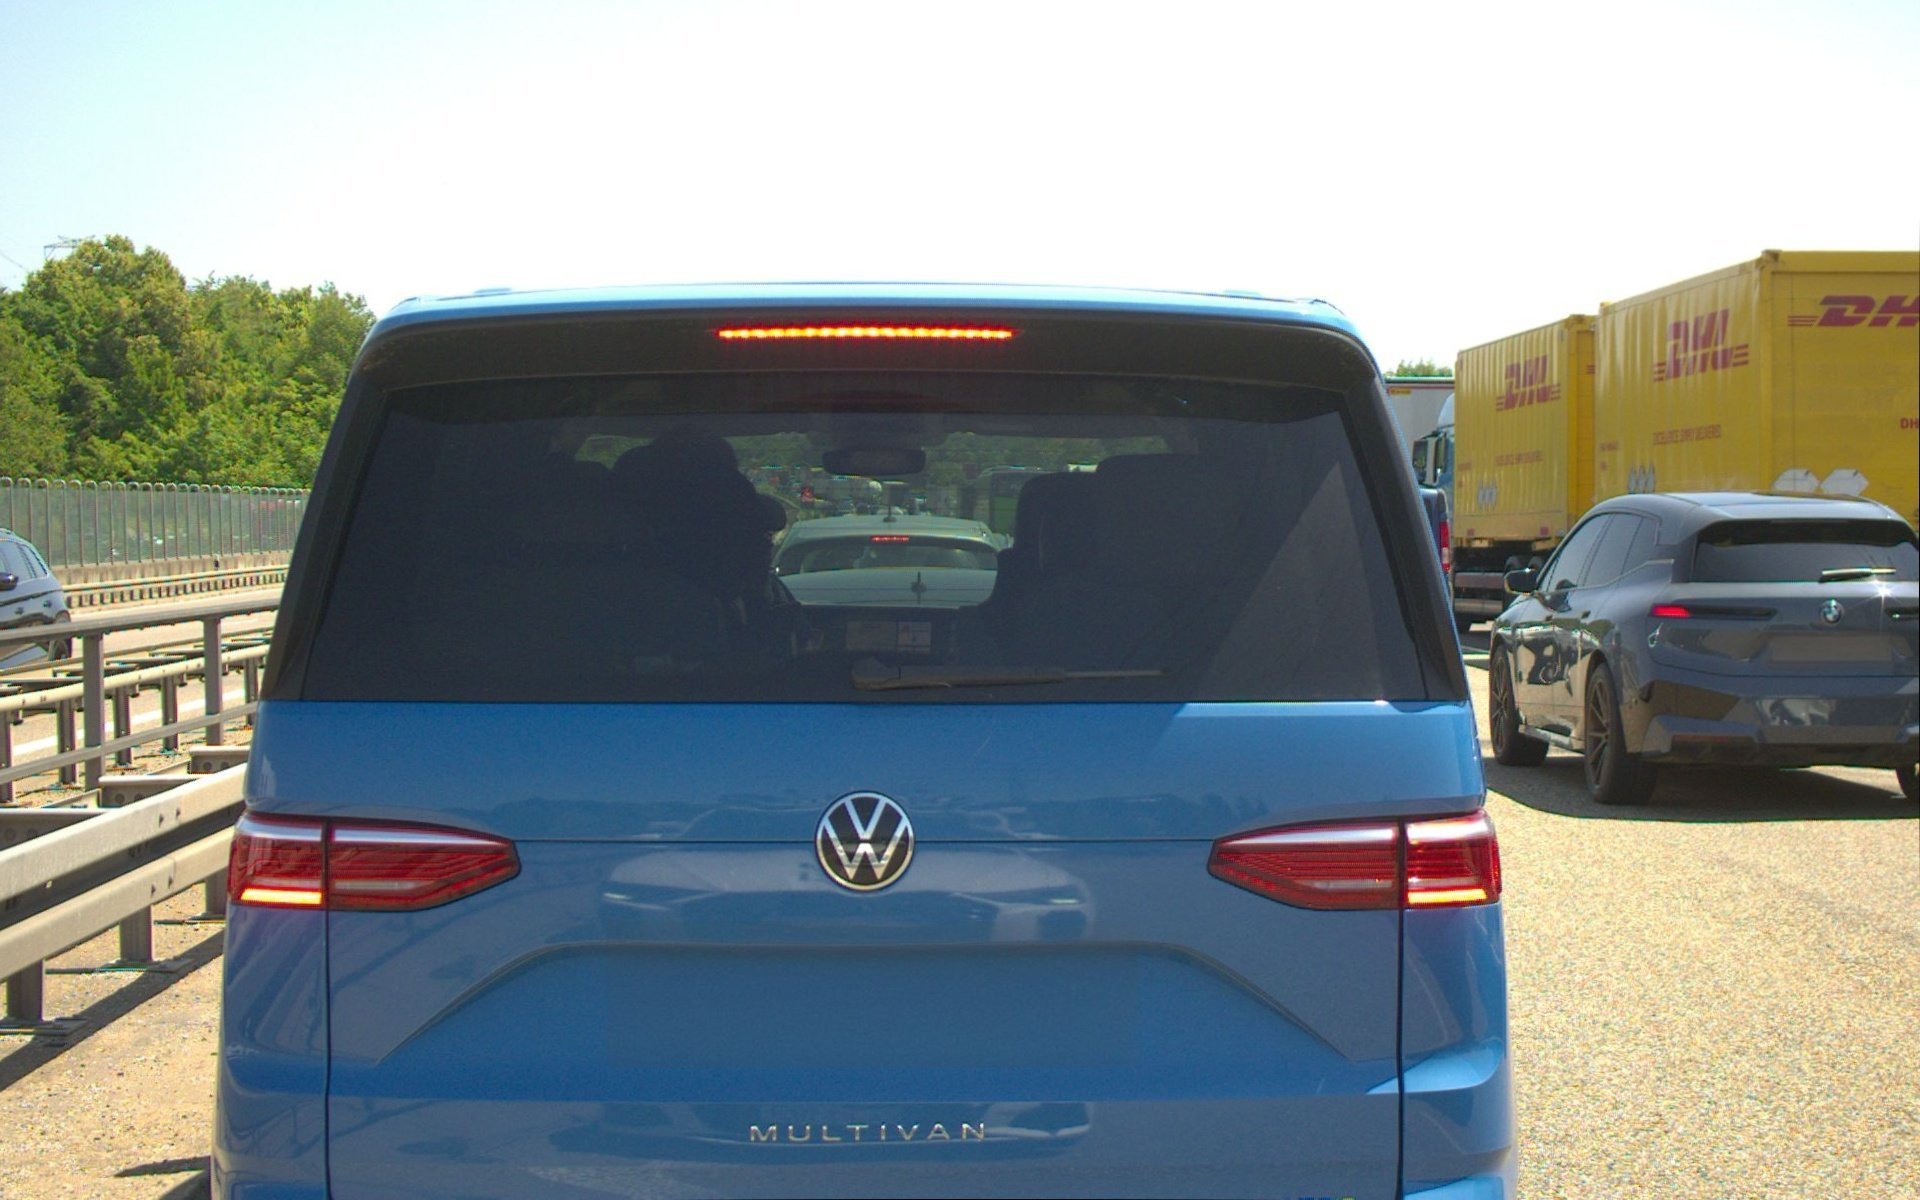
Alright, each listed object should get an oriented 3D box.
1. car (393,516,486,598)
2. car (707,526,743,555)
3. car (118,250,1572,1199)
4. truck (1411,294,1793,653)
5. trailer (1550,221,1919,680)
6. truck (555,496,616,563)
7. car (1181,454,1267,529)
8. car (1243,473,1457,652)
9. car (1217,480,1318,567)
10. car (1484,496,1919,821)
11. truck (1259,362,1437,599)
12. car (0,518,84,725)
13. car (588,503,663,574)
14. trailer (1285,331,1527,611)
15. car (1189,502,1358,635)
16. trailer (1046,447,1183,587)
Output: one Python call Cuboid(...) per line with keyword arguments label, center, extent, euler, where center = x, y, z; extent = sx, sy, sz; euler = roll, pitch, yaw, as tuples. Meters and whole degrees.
Cuboid(label="car", center=(-14.867, -1.253, 98.409), extent=(1.993, 2.208, 4.268), euler=(-3, 1, -1))
Cuboid(label="car", center=(-12.382, -3.152, 181.161), extent=(1.619, 1.459, 3.702), euler=(-2, 1, 0))
Cuboid(label="car", center=(-0.168, 0.461, 6.383), extent=(1.820, 1.851, 4.075), euler=(1, 1, -1))
Cuboid(label="truck", center=(8.349, -1.600, 46.357), extent=(2.836, 4.228, 11.011), euler=(1, 1, -1))
Cuboid(label="trailer", center=(8.525, -1.439, 36.336), extent=(2.864, 4.224, 9.012), euler=(1, 1, -1))
Cuboid(label="truck", center=(-19.778, -3.723, 181.834), extent=(2.497, 3.354, 5.834), euler=(-2, 1, -1))
Cuboid(label="car", center=(7.320, -2.996, 95.682), extent=(1.993, 2.007, 4.461), euler=(-1, 1, 0))
Cuboid(label="car", center=(4.501, -0.462, 40.244), extent=(1.962, 1.986, 4.293), euler=(0, 1, -1))
Cuboid(label="car", center=(7.286, -1.801, 81.765), extent=(1.993, 2.007, 4.000), euler=(1, 1, 0))
Cuboid(label="car", center=(4.315, 0.250, 19.529), extent=(1.962, 1.639, 4.293), euler=(0, 1, -1))
Cuboid(label="truck", center=(7.689, -2.329, 68.916), extent=(2.667, 4.469, 6.850), euler=(1, 1, 0))
Cuboid(label="car", center=(-8.837, 0.204, 28.773), extent=(1.867, 1.694, 4.431), euler=(-3, 1, -1))
Cuboid(label="car", center=(-10.573, -1.948, 108.851), extent=(1.863, 2.123, 4.268), euler=(-3, 1, 0))
Cuboid(label="trailer", center=(7.770, -2.217, 61.423), extent=(2.637, 4.501, 11.302), euler=(1, 1, -1))
Cuboid(label="car", center=(4.400, -0.470, 48.811), extent=(1.993, 1.809, 4.000), euler=(0, 1, -1))
Cuboid(label="trailer", center=(3.455, -1.872, 79.320), extent=(2.569, 2.980, 10.663), euler=(1, 1, 0))
